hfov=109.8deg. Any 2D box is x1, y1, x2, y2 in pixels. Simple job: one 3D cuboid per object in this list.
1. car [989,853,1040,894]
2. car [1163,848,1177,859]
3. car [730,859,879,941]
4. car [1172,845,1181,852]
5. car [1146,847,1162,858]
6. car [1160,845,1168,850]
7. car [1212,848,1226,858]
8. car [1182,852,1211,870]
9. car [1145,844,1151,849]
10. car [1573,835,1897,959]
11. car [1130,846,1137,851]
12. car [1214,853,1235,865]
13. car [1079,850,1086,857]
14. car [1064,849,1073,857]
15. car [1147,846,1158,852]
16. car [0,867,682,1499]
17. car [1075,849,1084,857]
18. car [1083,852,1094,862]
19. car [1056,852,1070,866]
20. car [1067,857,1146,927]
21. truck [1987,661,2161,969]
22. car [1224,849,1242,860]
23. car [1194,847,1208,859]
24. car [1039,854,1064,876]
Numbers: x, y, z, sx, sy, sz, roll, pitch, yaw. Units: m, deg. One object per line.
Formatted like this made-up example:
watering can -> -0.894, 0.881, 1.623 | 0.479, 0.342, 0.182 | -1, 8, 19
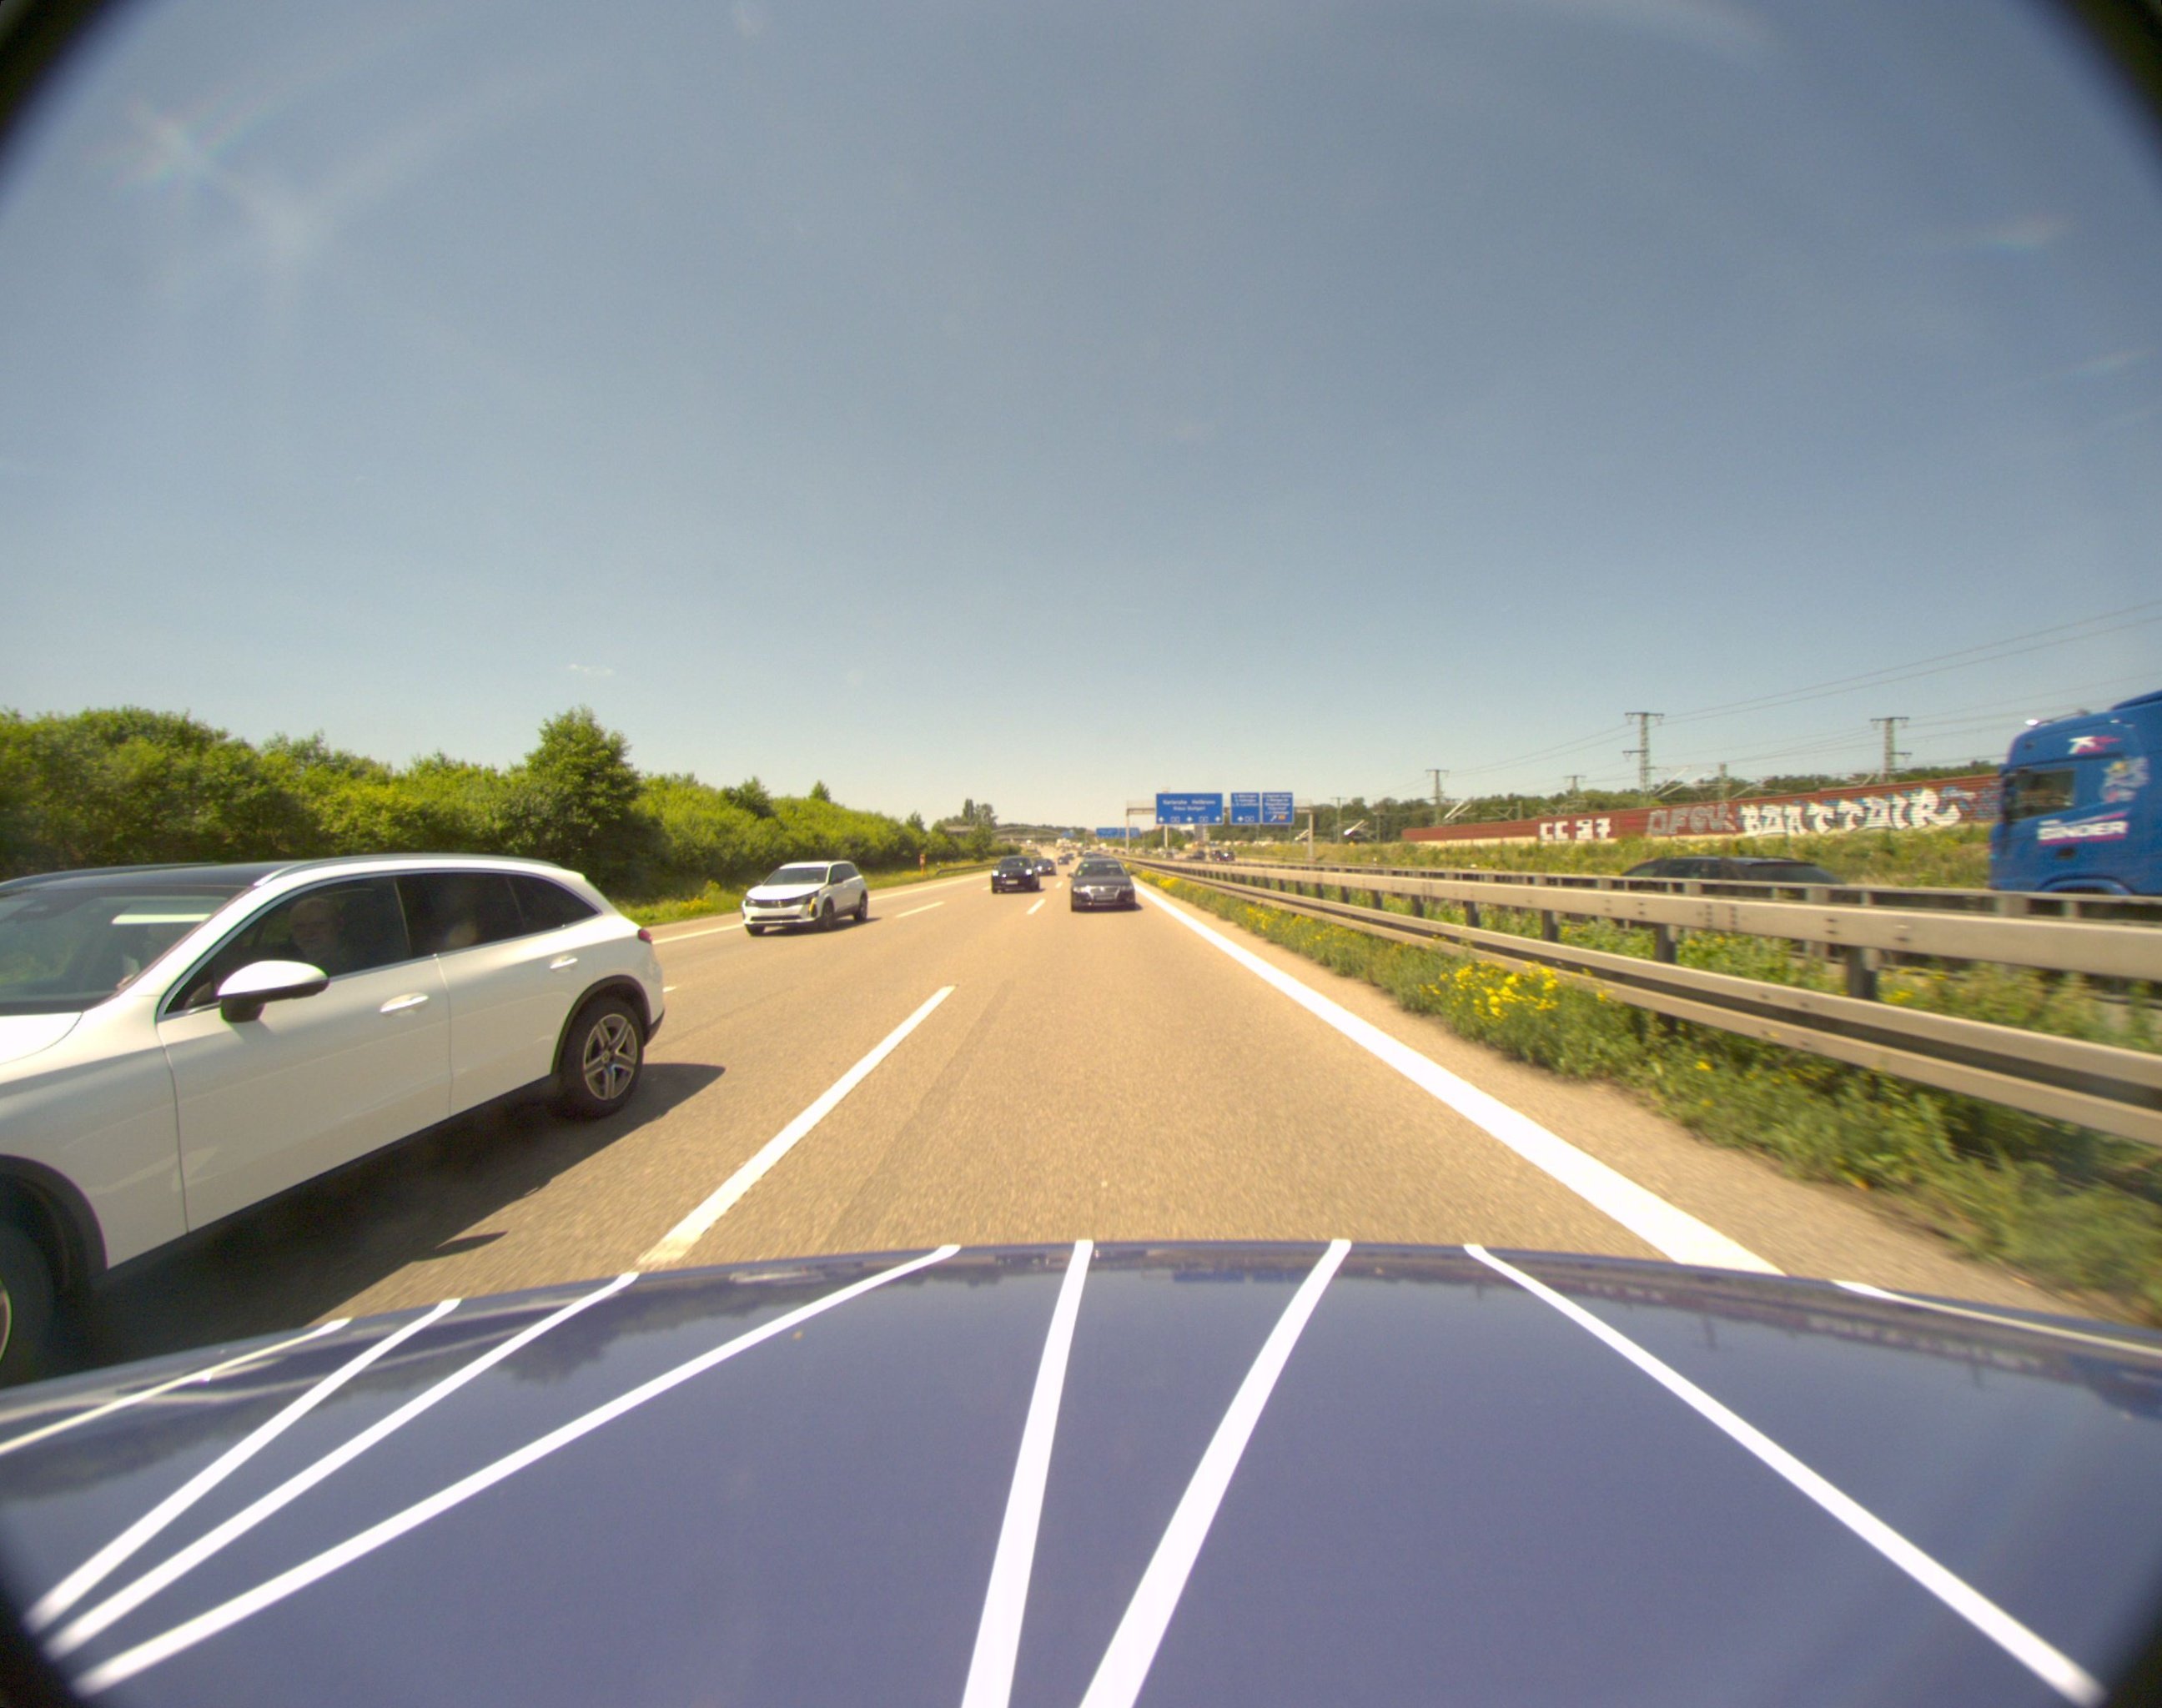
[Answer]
car -> -2.979, 0.847, 34.989 | 1.983, 1.620, 4.615 | -2, 1, -1
car -> 15.155, -0.087, 129.162 | 1.998, 1.686, 4.188 | -1, 0, 1
car -> -6.666, 1.027, 18.939 | 1.898, 1.620, 4.616 | -2, 1, 1
car -> 26.105, -1.577, 208.363 | 1.998, 1.875, 4.977 | -2, 1, 2
car -> 10.643, -0.209, 110.962 | 1.998, 1.478, 4.154 | 0, 1, 1
car -> 26.195, -1.956, 240.152 | 1.998, 1.567, 4.476 | -2, 1, 1
car -> 26.356, -0.233, 145.275 | 1.998, 1.716, 4.513 | -2, 1, 2
car -> 10.465, 0.613, 68.863 | 1.998, 1.455, 4.385 | -2, 0, 1
car -> 22.185, -2.370, 251.980 | 1.998, 1.567, 4.477 | -2, 1, 3
car -> 10.324, 0.541, 12.506 | 1.723, 1.625, 4.191 | -3, 1, 1
car -> 17.828, -1.916, 258.173 | 1.998, 1.567, 4.476 | -2, 1, 1
car -> 18.274, 0.631, 97.025 | 1.998, 1.478, 3.931 | 0, 1, 1
car -> 0.495, -0.203, 218.672 | 1.998, 2.002, 3.999 | -3, 1, 1
car -> -2.713, -0.208, 165.237 | 1.999, 1.691, 3.999 | -2, 1, 0
car -> 15.639, -1.070, 166.342 | 1.872, 1.387, 4.512 | -2, 1, -2
car -> -3.897, 0.961, 3.175 | 1.909, 1.646, 4.636 | -2, 0, 1
car -> -0.338, -0.262, 187.021 | 1.998, 2.002, 3.999 | -3, 1, 1
car -> 1.345, 0.535, 140.664 | 1.999, 1.691, 3.999 | -2, 1, 0
car -> -2.717, 0.716, 114.963 | 1.999, 2.002, 3.999 | -2, 1, 0
car -> 0.576, 0.880, 19.443 | 1.752, 1.462, 3.999 | -2, 1, 0
truck -> 16.799, -0.559, 9.154 | 2.895, 4.382, 7.503 | 0, 0, 1
car -> 24.091, 0.027, 120.354 | 1.998, 1.716, 4.513 | -2, 1, 1
car -> 22.151, -0.147, 140.655 | 1.998, 2.002, 4.308 | -3, 1, 1
car -> -2.295, 0.825, 58.970 | 1.752, 1.462, 3.998 | -2, 1, -2
